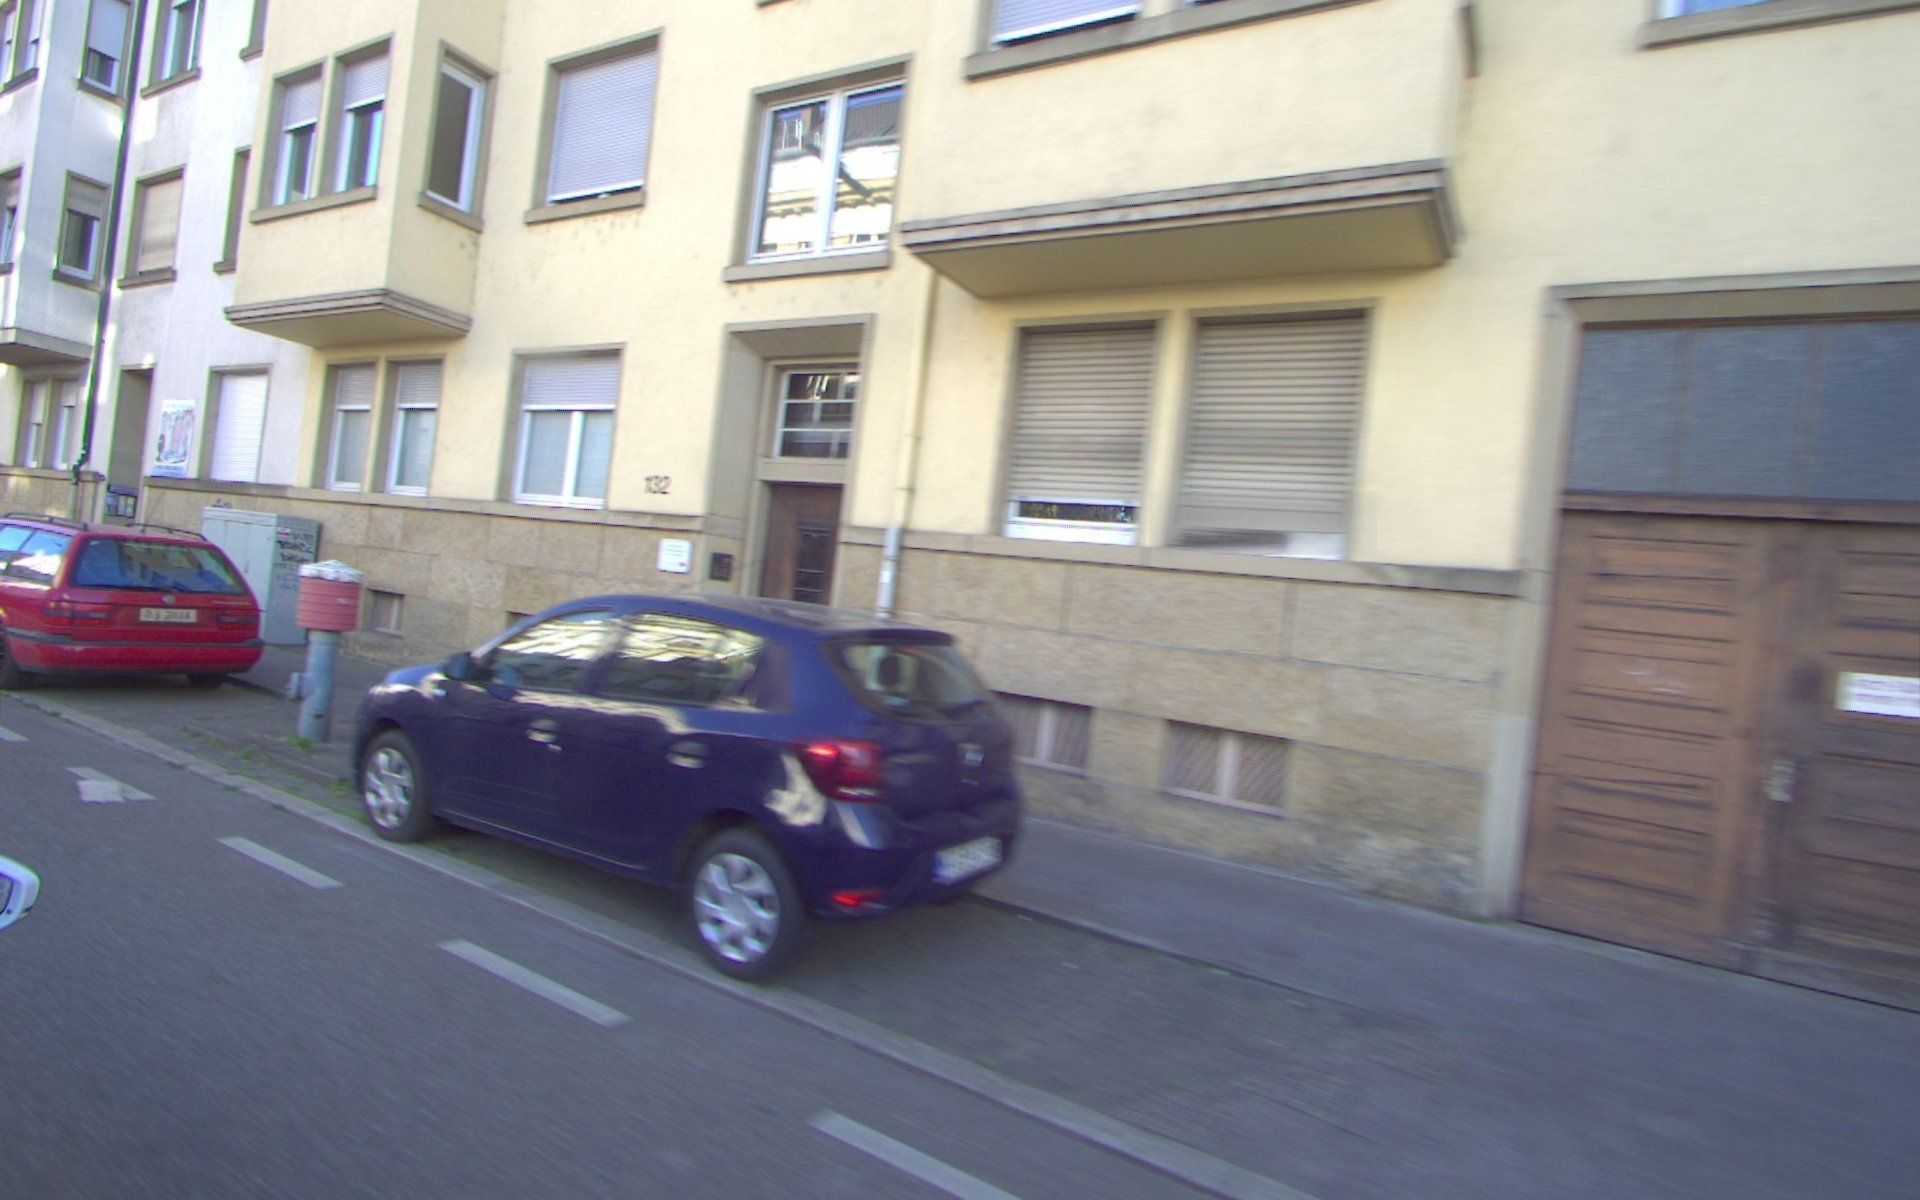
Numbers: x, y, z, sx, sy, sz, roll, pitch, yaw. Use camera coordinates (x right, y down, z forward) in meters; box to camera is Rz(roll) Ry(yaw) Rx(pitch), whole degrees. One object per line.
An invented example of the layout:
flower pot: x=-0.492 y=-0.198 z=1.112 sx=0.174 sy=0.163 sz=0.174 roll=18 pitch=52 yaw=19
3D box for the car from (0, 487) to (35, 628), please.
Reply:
car: x=-13.840 y=-0.781 z=12.789 sx=4.487 sy=1.685 sz=1.862 roll=6 pitch=-1 yaw=33

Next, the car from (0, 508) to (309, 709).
car: x=-8.417 y=-0.040 z=9.584 sx=4.632 sy=1.473 sz=1.862 roll=6 pitch=-1 yaw=33

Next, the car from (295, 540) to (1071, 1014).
car: x=-1.618 y=0.645 z=5.447 sx=3.935 sy=1.509 sz=1.720 roll=6 pitch=0 yaw=32
